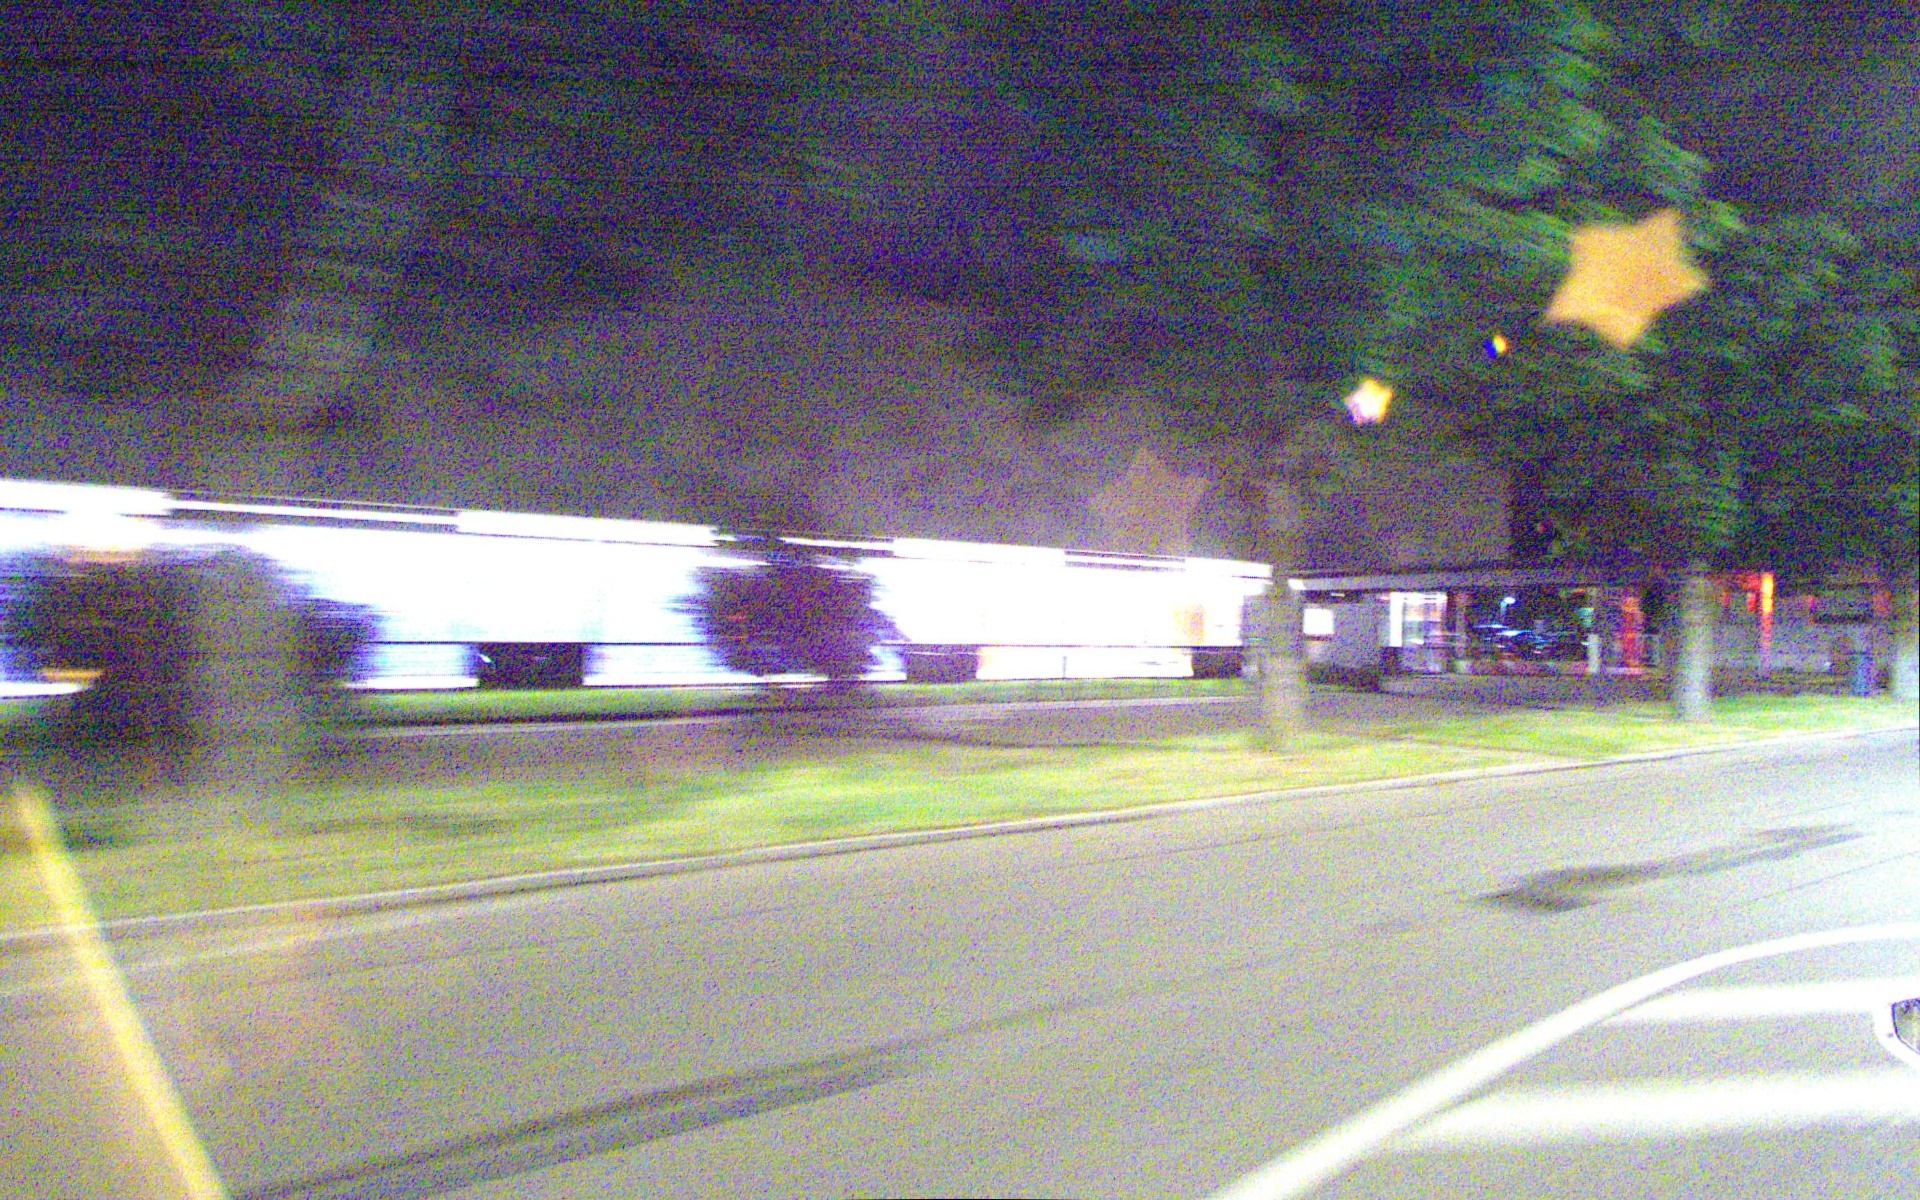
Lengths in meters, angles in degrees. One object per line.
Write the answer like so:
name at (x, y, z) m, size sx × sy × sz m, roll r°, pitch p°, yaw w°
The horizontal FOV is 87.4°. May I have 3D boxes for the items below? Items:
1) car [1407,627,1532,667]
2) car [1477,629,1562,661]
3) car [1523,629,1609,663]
car at (21.150, 1.921, 41.873) m, size 1.813 × 1.410 × 4.355 m, roll 7°, pitch -5°, yaw -30°
car at (29.708, 2.387, 53.331) m, size 4.133 × 1.661 × 1.986 m, roll 2°, pitch -3°, yaw -28°
car at (30.700, 2.324, 50.860) m, size 3.950 × 1.661 × 1.986 m, roll 2°, pitch -3°, yaw -28°
